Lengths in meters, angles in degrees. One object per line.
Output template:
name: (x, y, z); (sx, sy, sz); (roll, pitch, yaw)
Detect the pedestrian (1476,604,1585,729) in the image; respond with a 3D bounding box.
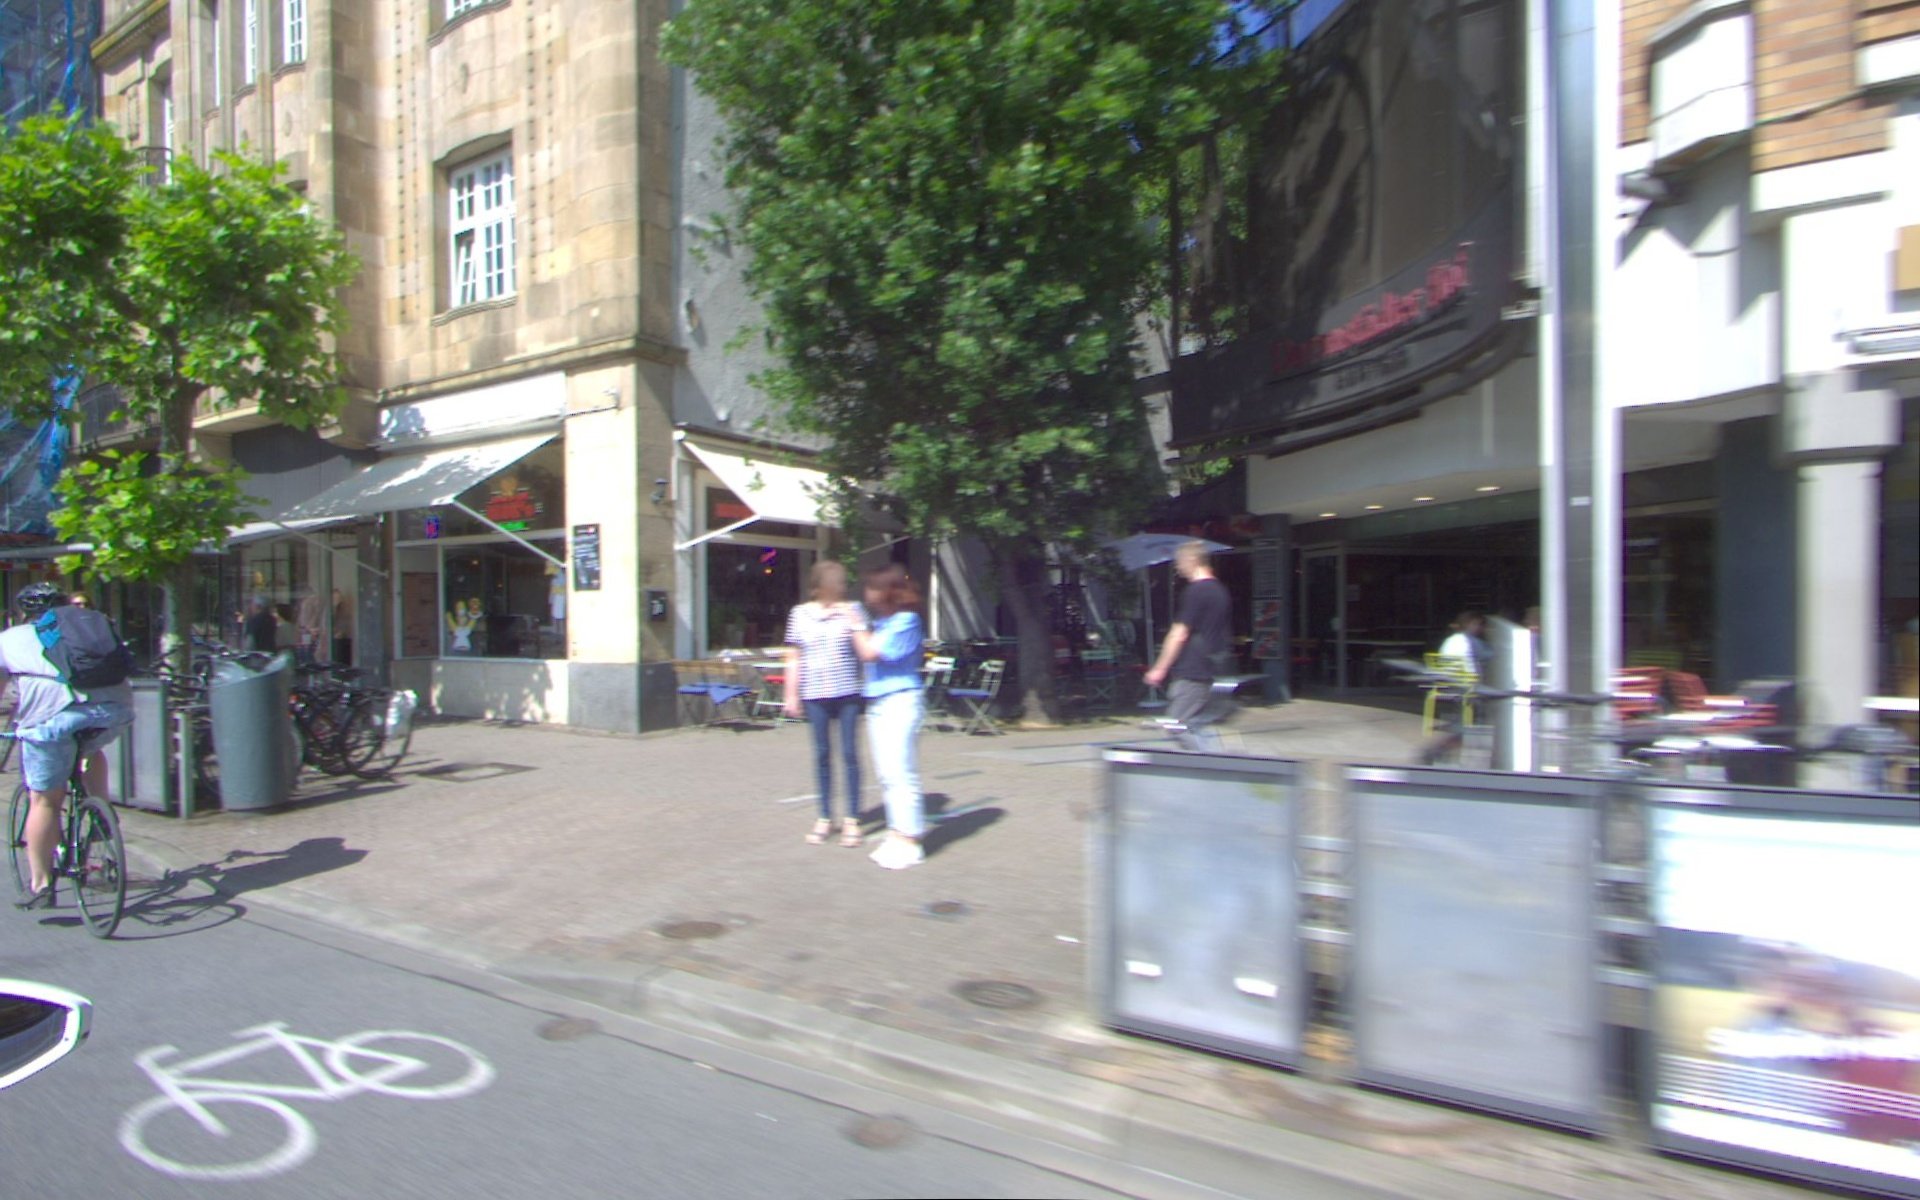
pedestrian: (6.022, 0.698, 10.583); (0.779, 1.270, 0.639); (1, -2, -15)

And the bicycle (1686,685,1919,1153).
bicycle: (2.744, 0.844, 3.206); (0.475, 1.031, 1.751); (0, -1, 29)

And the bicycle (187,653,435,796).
bicycle: (-5.435, 0.996, 8.508); (0.475, 1.031, 1.751); (0, -1, 29)

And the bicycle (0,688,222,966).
bicycle: (-4.763, 1.055, 5.184); (2.099, 1.106, 0.733); (-1, -2, 31)

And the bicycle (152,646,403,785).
bicycle: (-5.929, 0.951, 8.811); (0.578, 1.031, 1.750); (0, 0, 29)

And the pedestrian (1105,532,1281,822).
pedestrian: (1.582, 0.488, 6.794); (0.972, 1.804, 0.665); (-1, 0, 36)

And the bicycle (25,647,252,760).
bicycle: (-8.287, 1.011, 10.207); (1.736, 1.031, 0.653); (1, -1, -36)

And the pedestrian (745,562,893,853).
pedestrian: (-0.836, 0.608, 6.042); (0.633, 1.648, 0.599); (0, 2, 20)

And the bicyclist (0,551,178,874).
bicyclist: (-4.731, 0.539, 5.177); (1.126, 1.481, 0.688); (0, -2, 30)

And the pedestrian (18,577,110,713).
pedestrian: (-12.825, 0.622, 14.334); (0.880, 1.873, 0.811); (-1, 1, 39)

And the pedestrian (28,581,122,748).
pedestrian: (-9.413, 0.668, 10.676); (0.650, 1.705, 0.649); (-1, -1, -34)

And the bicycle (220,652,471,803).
bicycle: (-4.989, 0.986, 8.262); (0.475, 1.031, 1.750); (0, 0, 29)

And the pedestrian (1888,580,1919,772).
pedestrian: (6.766, 0.504, 6.591); (0.779, 1.270, 0.639); (1, -2, -15)

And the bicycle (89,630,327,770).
bicycle: (-7.143, 0.895, 9.607); (0.570, 1.196, 1.751); (0, -1, 29)

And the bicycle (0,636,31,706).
bicycle: (-14.543, 1.038, 14.347); (0.475, 1.031, 1.751); (0, -1, 29)

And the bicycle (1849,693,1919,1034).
bicycle: (3.189, 0.852, 2.956); (0.475, 1.031, 1.751); (0, -1, 29)

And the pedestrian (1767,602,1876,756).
pedestrian: (7.500, 0.672, 8.748); (0.632, 1.270, 0.789); (-1, -2, 35)

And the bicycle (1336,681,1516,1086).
bicycle: (1.805, 0.884, 3.752); (0.475, 1.031, 1.750); (0, 0, 29)

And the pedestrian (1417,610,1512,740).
pedestrian: (5.117, 0.748, 10.198); (0.779, 1.270, 0.639); (0, -2, 19)

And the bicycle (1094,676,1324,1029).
bicycle: (1.106, 0.894, 4.154); (0.475, 1.031, 1.750); (0, 0, 29)

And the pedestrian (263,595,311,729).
pedestrian: (-8.791, 0.794, 13.079); (0.471, 1.705, 0.379); (0, 1, 40)

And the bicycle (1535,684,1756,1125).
bicycle: (2.283, 0.863, 3.475); (0.475, 1.031, 1.751); (0, -1, 29)

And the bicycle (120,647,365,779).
bicycle: (-6.442, 0.966, 9.099); (0.549, 1.031, 1.751); (0, -1, 29)

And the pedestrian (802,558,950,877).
pedestrian: (-0.437, 0.611, 5.530); (0.684, 1.648, 0.702); (-1, 1, 5)

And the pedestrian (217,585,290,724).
pedestrian: (-8.900, 0.670, 12.637); (0.490, 1.705, 0.537); (-2, 1, -4)
